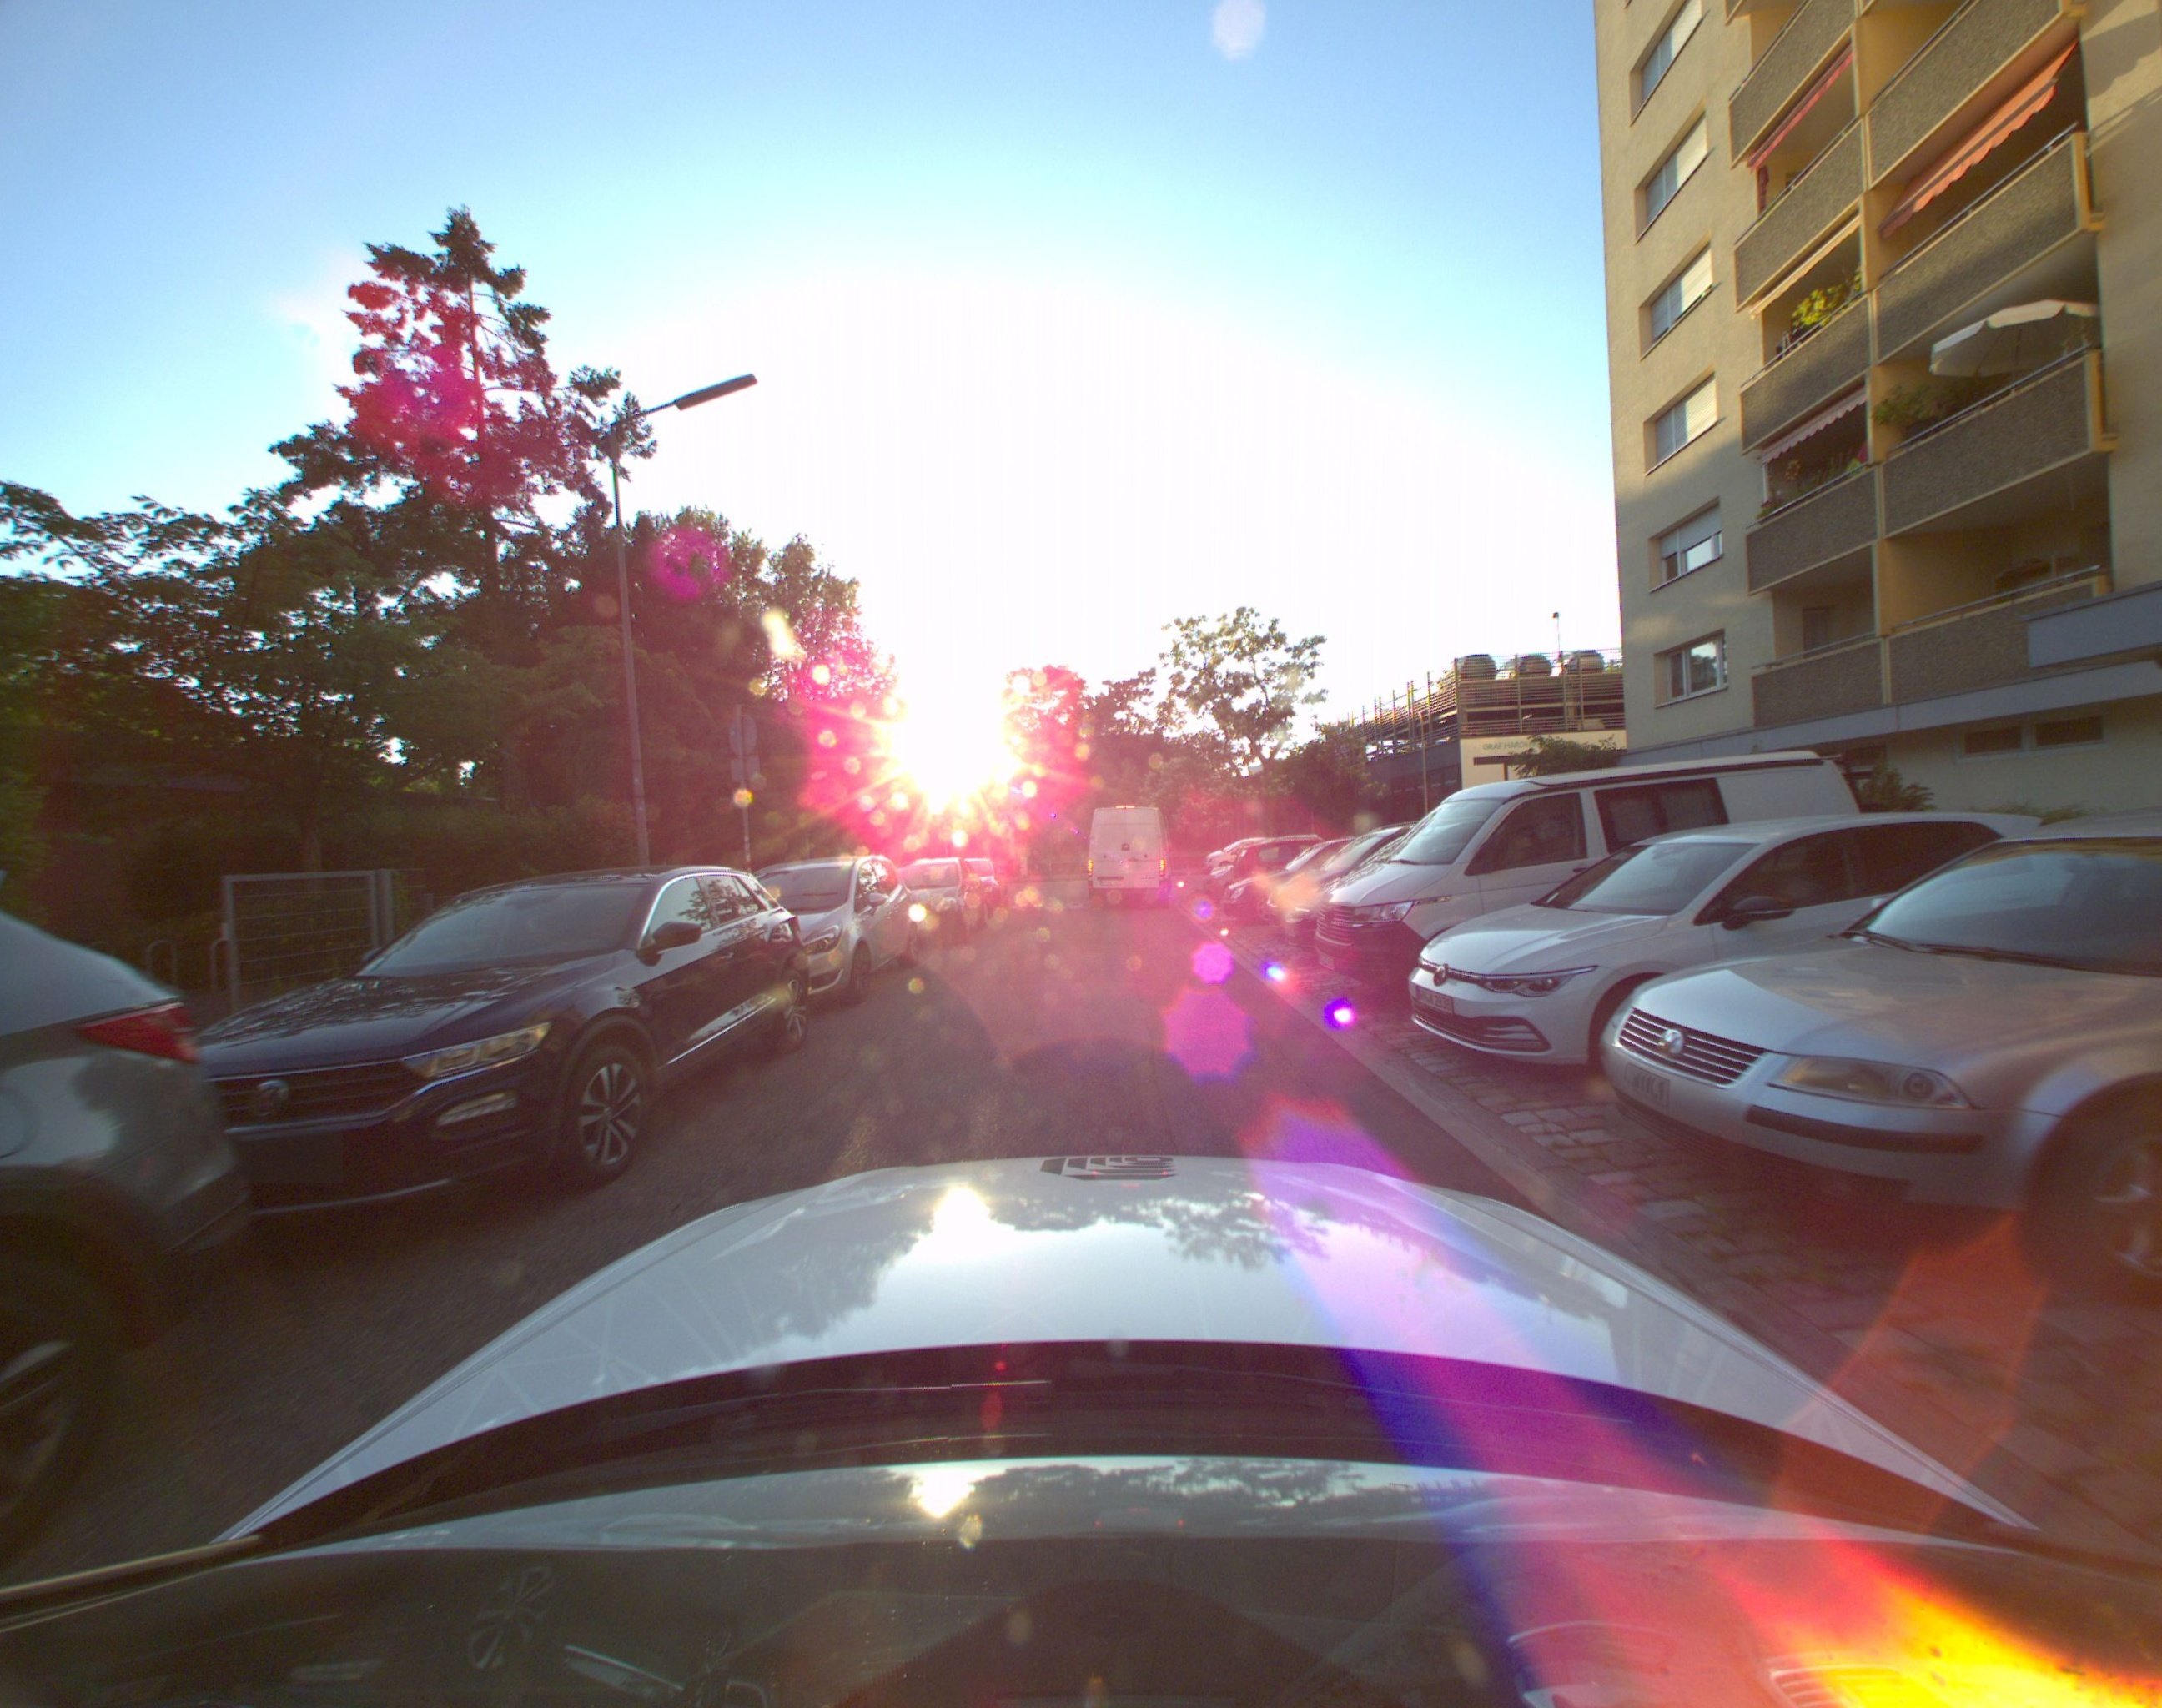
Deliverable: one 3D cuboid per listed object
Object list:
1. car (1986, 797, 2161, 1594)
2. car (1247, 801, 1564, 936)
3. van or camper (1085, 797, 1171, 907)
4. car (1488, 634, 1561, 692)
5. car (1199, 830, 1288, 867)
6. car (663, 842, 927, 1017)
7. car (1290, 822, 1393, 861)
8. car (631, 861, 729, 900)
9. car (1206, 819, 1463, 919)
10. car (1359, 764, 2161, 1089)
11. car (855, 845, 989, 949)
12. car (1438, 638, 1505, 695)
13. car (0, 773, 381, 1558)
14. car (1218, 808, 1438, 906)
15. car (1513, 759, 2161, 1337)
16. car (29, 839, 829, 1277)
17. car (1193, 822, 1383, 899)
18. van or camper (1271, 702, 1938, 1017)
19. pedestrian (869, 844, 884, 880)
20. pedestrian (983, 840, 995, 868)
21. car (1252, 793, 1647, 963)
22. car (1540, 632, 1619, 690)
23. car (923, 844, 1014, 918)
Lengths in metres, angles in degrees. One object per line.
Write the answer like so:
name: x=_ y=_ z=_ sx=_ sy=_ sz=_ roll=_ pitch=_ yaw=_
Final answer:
car: x=4.240 y=0.509 z=0.859 sx=4.388 sy=1.563 sz=1.846 roll=-4 pitch=-1 yaw=1
car: x=5.173 y=0.238 z=13.419 sx=4.391 sy=1.661 sz=1.845 roll=-5 pitch=-1 yaw=-1
van or camper: x=1.477 y=-0.092 z=22.926 sx=1.983 sy=2.618 sz=6.415 roll=-2 pitch=1 yaw=6
car: x=23.013 y=-9.870 z=42.441 sx=1.983 sy=2.013 sz=4.008 roll=-2 pitch=0 yaw=7
car: x=7.708 y=-0.263 z=38.866 sx=3.843 sy=1.574 sz=1.958 roll=-2 pitch=1 yaw=-1
car: x=-3.150 y=0.705 z=9.946 sx=1.729 sy=1.567 sz=4.128 roll=-4 pitch=1 yaw=-1
car: x=12.228 y=-0.580 z=38.386 sx=4.271 sy=1.503 sz=1.826 roll=-4 pitch=0 yaw=5
car: x=-19.832 y=1.312 z=40.345 sx=3.830 sy=1.491 sz=1.828 roll=-3 pitch=6 yaw=8
car: x=4.834 y=0.290 z=15.971 sx=4.391 sy=1.531 sz=1.845 roll=-4 pitch=-1 yaw=-1
car: x=4.502 y=0.437 z=5.726 sx=4.388 sy=1.631 sz=1.846 roll=-4 pitch=-1 yaw=1
car: x=-2.795 y=0.675 z=15.113 sx=1.729 sy=1.567 sz=3.695 roll=-4 pitch=1 yaw=-1
car: x=20.501 y=-9.824 z=42.960 sx=1.983 sy=2.013 sz=4.008 roll=-2 pitch=0 yaw=7
car: x=-3.263 y=0.752 z=0.572 sx=1.729 sy=1.730 sz=4.321 roll=-4 pitch=1 yaw=-1
car: x=5.518 y=0.057 z=18.635 sx=4.385 sy=1.631 sz=1.848 roll=-7 pitch=0 yaw=3
car: x=4.453 y=0.453 z=3.253 sx=4.388 sy=1.593 sz=1.846 roll=-4 pitch=-1 yaw=1
car: x=-3.152 y=0.758 z=5.239 sx=1.729 sy=1.567 sz=4.165 roll=-4 pitch=1 yaw=-1
car: x=5.284 y=0.185 z=21.198 sx=4.391 sy=1.631 sz=1.845 roll=-4 pitch=-1 yaw=-1
van or camper: x=4.757 y=0.035 z=8.026 sx=5.118 sy=2.167 sz=2.040 roll=-6 pitch=0 yaw=-1
pedestrian: x=-10.622 y=0.409 z=42.295 sx=0.591 sy=1.809 sz=0.621 roll=-1 pitch=1 yaw=3
pedestrian: x=-5.609 y=-0.010 z=49.706 sx=0.644 sy=1.648 sz=0.674 roll=-1 pitch=1 yaw=1
car: x=4.671 y=0.303 z=10.784 sx=4.313 sy=1.661 sz=1.781 roll=-5 pitch=-1 yaw=-1
car: x=25.760 y=-9.950 z=42.238 sx=1.983 sy=2.013 sz=4.008 roll=-2 pitch=0 yaw=7
car: x=-2.719 y=0.603 z=20.530 sx=1.729 sy=1.567 sz=3.789 roll=-4 pitch=1 yaw=-1
